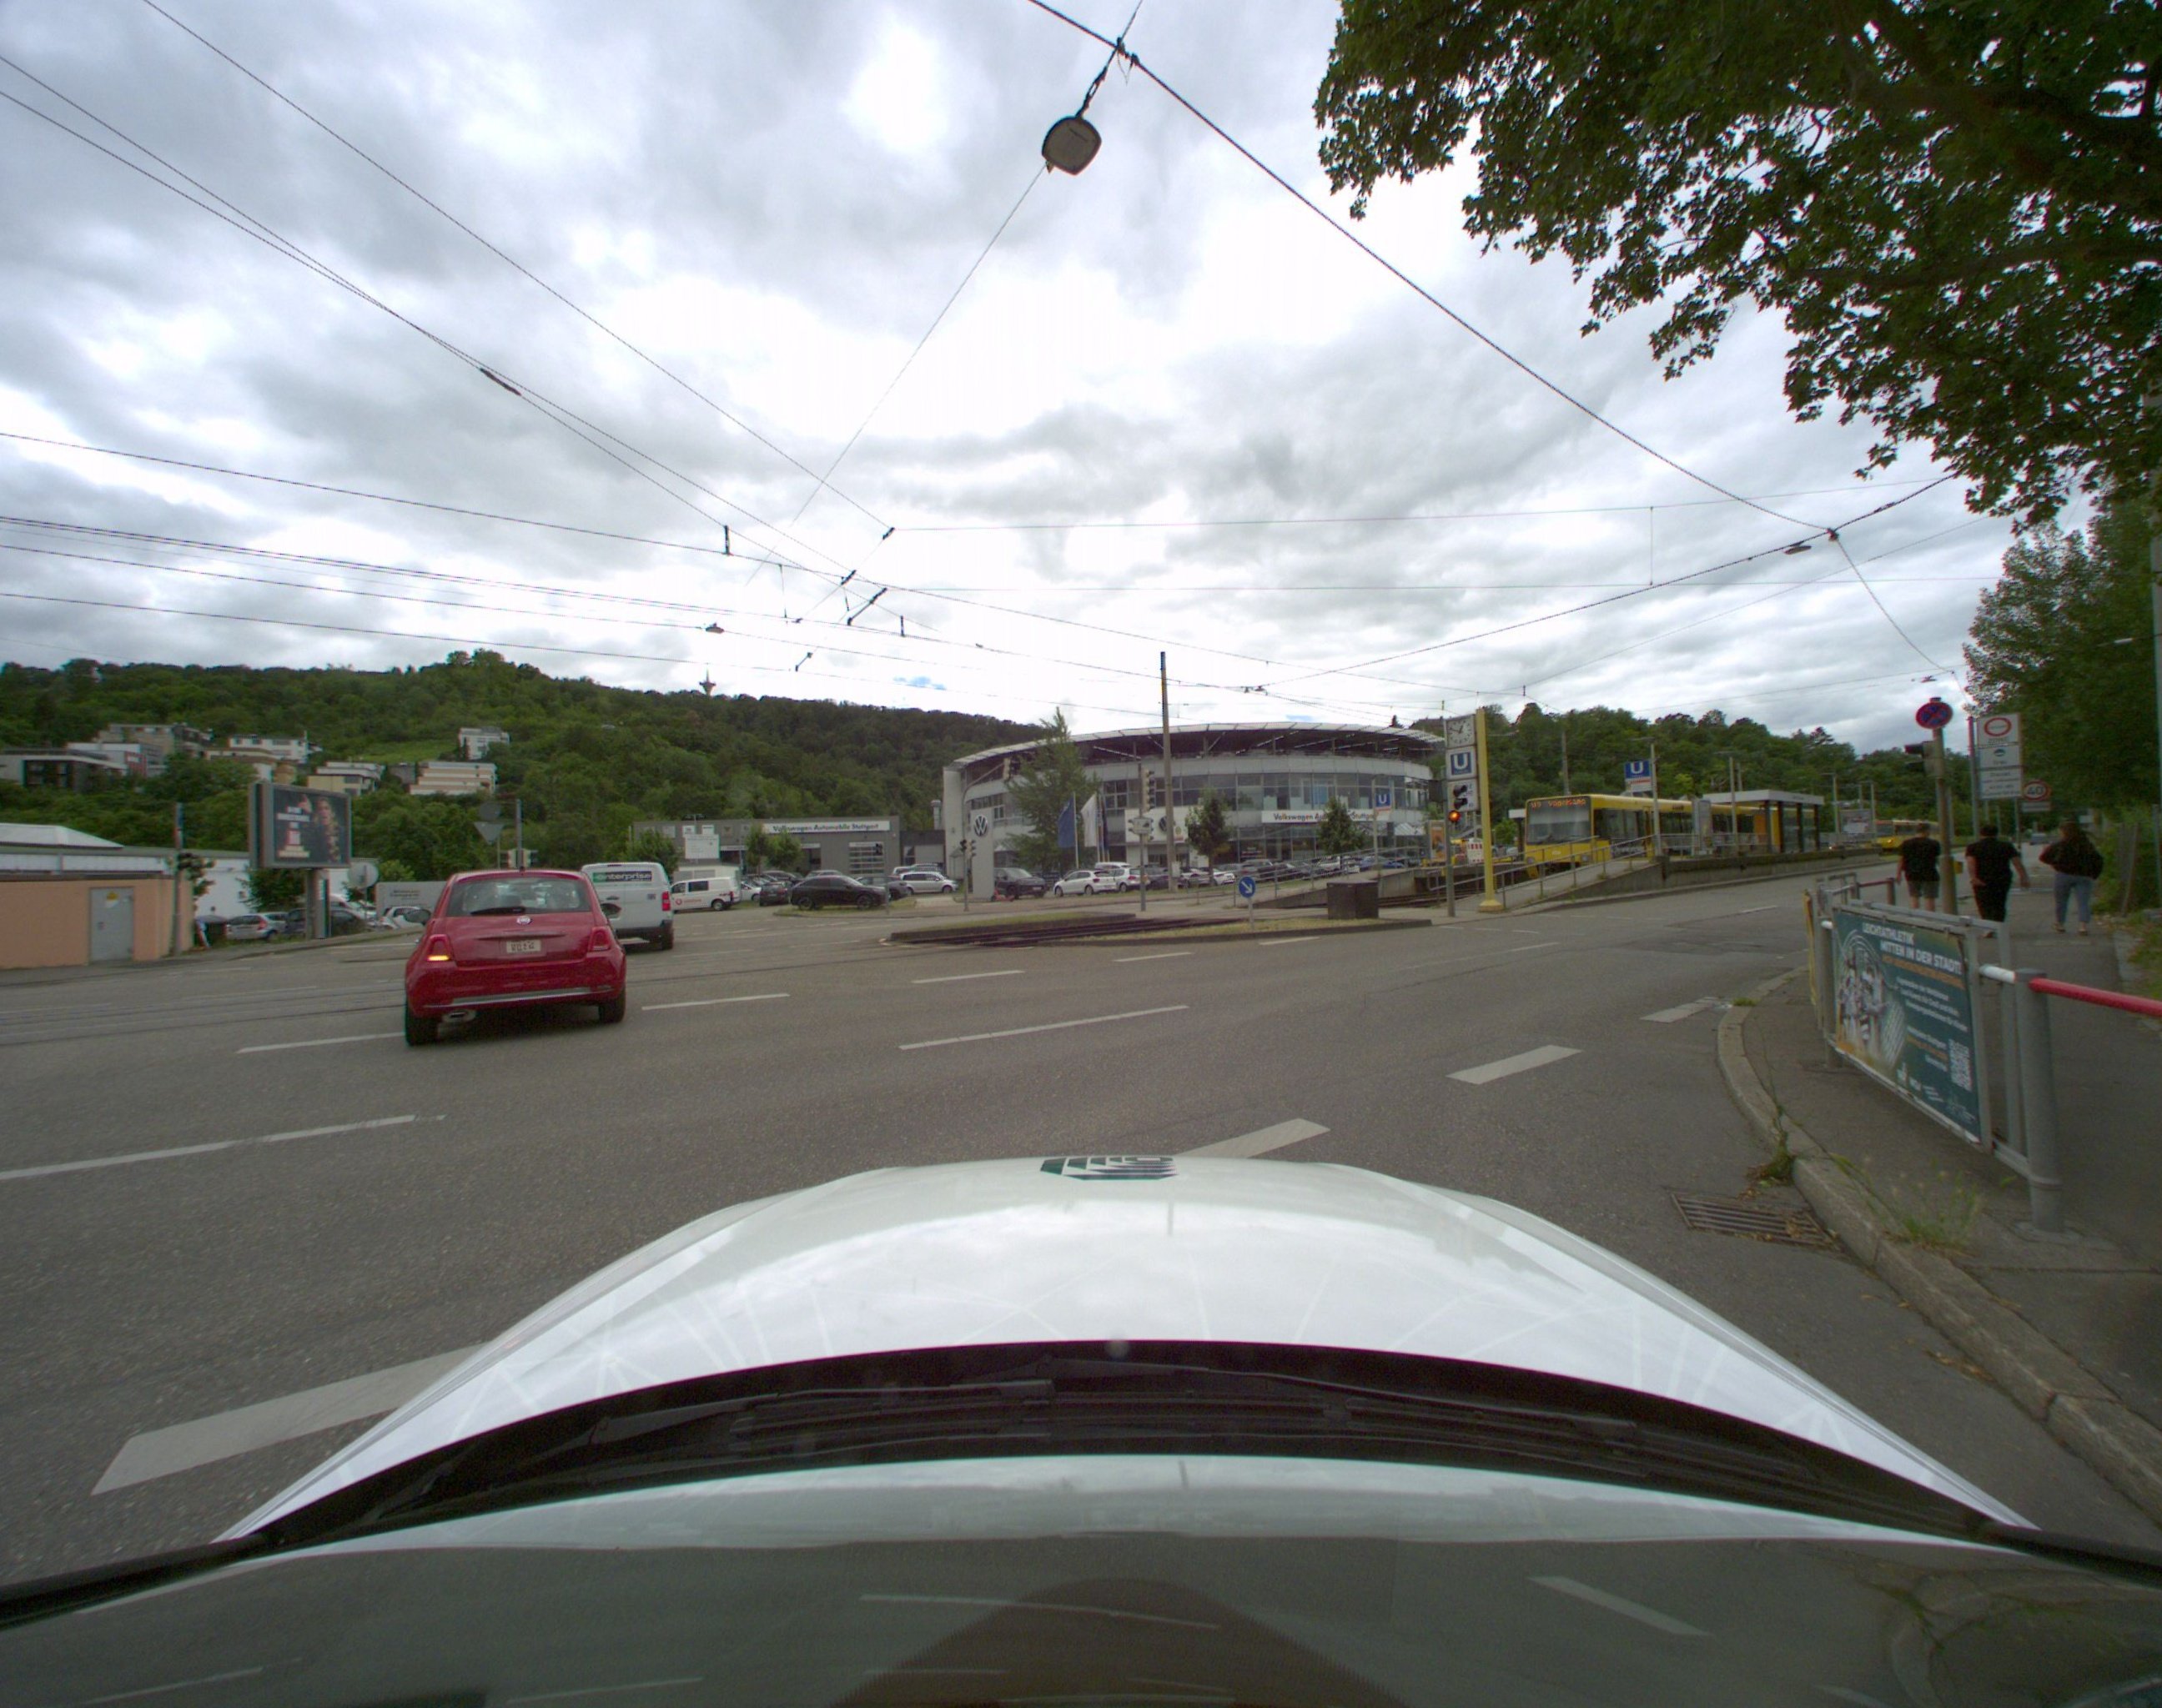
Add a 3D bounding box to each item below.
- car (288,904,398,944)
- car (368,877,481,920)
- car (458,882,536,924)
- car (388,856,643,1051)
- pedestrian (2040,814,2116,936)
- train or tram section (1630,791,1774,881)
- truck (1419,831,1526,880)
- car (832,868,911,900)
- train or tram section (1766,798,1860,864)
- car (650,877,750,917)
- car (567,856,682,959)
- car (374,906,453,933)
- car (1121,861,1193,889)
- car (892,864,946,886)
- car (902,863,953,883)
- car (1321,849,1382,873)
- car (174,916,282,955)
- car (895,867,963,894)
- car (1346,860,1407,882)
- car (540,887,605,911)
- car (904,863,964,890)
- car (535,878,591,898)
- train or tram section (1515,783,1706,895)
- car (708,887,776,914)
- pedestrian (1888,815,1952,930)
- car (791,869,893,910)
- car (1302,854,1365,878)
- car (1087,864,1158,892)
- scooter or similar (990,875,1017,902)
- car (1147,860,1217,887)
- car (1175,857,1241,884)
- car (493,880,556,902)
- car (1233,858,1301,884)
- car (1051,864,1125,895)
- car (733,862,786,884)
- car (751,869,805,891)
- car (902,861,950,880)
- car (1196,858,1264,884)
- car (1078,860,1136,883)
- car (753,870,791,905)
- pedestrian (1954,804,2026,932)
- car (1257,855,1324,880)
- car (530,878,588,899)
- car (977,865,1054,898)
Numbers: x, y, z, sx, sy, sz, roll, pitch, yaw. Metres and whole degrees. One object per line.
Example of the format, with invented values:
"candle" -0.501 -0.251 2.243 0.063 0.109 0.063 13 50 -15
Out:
"car" -33.139 3.088 36.655 3.590 1.486 1.584 -1 -1 -42
"car" -35.924 2.452 44.629 4.535 2.243 1.975 4 -5 -44
"car" -27.909 2.343 39.126 2.086 1.854 4.866 2 -4 -25
"car" -5.824 0.847 8.534 1.710 1.525 3.957 3 -3 -34
"pedestrian" 14.401 0.313 11.768 0.674 1.690 0.597 3 -4 -37
"train or tram section" 31.445 -0.961 40.913 11.970 3.966 2.718 -2 -1 -38
"truck" 27.078 0.049 56.125 9.047 3.078 2.673 -1 -2 -37
"car" -11.705 1.713 45.511 4.005 1.706 1.984 2 -4 -24
"train or tram section" 50.322 -1.583 55.861 10.246 4.065 2.947 -2 -1 -38
"car" -22.563 2.550 48.410 5.003 2.014 1.992 -3 -3 -11
"car" -10.685 1.114 18.974 2.011 2.041 4.784 2 -1 -31
"car" -34.269 3.355 41.897 2.820 1.338 1.521 3 -4 -29
"car" 4.424 1.272 48.015 1.937 1.554 3.951 4 -5 -42
"car" -14.320 1.871 71.768 4.505 1.729 1.989 2 -4 -16
"car" -14.414 1.758 76.233 4.505 1.729 1.989 2 -4 -16
"car" 20.079 0.554 60.617 1.934 1.554 3.958 3 -4 -33
"car" -44.902 4.246 43.031 2.000 1.839 4.480 2 -4 -19
"car" -10.690 1.900 57.250 4.505 1.729 1.989 2 -4 -16
"car" 22.152 1.304 61.170 1.934 1.554 3.958 3 -4 -33
"car" -43.413 3.850 69.639 4.521 1.997 1.981 2 -4 -28
"car" -11.662 1.809 64.440 4.504 1.997 1.989 2 -4 -16
"car" -53.510 3.569 84.262 4.513 1.997 1.985 2 -4 -22
"train or tram section" 22.045 -0.660 33.435 11.970 3.966 2.718 -2 -1 -38
"car" -23.443 3.233 56.419 3.990 1.794 1.845 1 -4 -13
"pedestrian" 13.989 0.320 13.576 0.674 1.868 0.597 3 -4 -37
"car" -10.729 1.579 36.764 3.976 1.639 1.999 1 1 -2
"car" 18.171 0.901 58.737 1.935 1.554 3.958 -2 -1 -34
"car" 2.343 1.421 46.770 1.824 1.477 3.951 4 -5 -42
"scooter or similar" -3.760 1.661 39.543 1.204 1.288 0.571 2 -4 -20
"car" 6.132 1.223 49.866 1.937 1.554 3.951 4 -5 -42
"car" 8.010 1.077 51.602 1.738 1.554 3.951 4 -5 -42
"car" -52.828 3.515 77.378 4.513 1.997 1.985 2 -4 -22
"car" 12.248 1.122 53.872 1.938 1.554 3.951 -2 -1 -42
"car" 0.364 1.462 45.400 2.010 1.640 3.951 4 -5 -42
"car" -28.378 1.732 72.006 3.990 1.794 1.845 1 -4 -13
"car" -25.622 2.219 69.057 3.990 1.794 1.845 1 -4 -13
"car" -15.445 1.667 81.297 4.505 1.729 1.989 2 -4 -16
"car" 9.665 1.163 53.018 1.937 1.554 3.951 4 -5 -42
"car" 1.909 1.324 60.062 3.948 1.554 1.939 -2 -4 39
"car" -19.840 2.208 52.492 1.999 2.014 4.985 -2 -3 -18
"pedestrian" 13.811 0.213 12.376 0.675 1.867 0.597 0 -2 -37
"car" 14.203 0.929 55.258 1.938 1.554 3.951 -3 0 -42
"car" -52.510 3.454 82.035 4.513 1.997 1.985 2 -4 -22
"car" -3.442 1.447 42.497 2.011 1.640 3.951 0 -2 -42
